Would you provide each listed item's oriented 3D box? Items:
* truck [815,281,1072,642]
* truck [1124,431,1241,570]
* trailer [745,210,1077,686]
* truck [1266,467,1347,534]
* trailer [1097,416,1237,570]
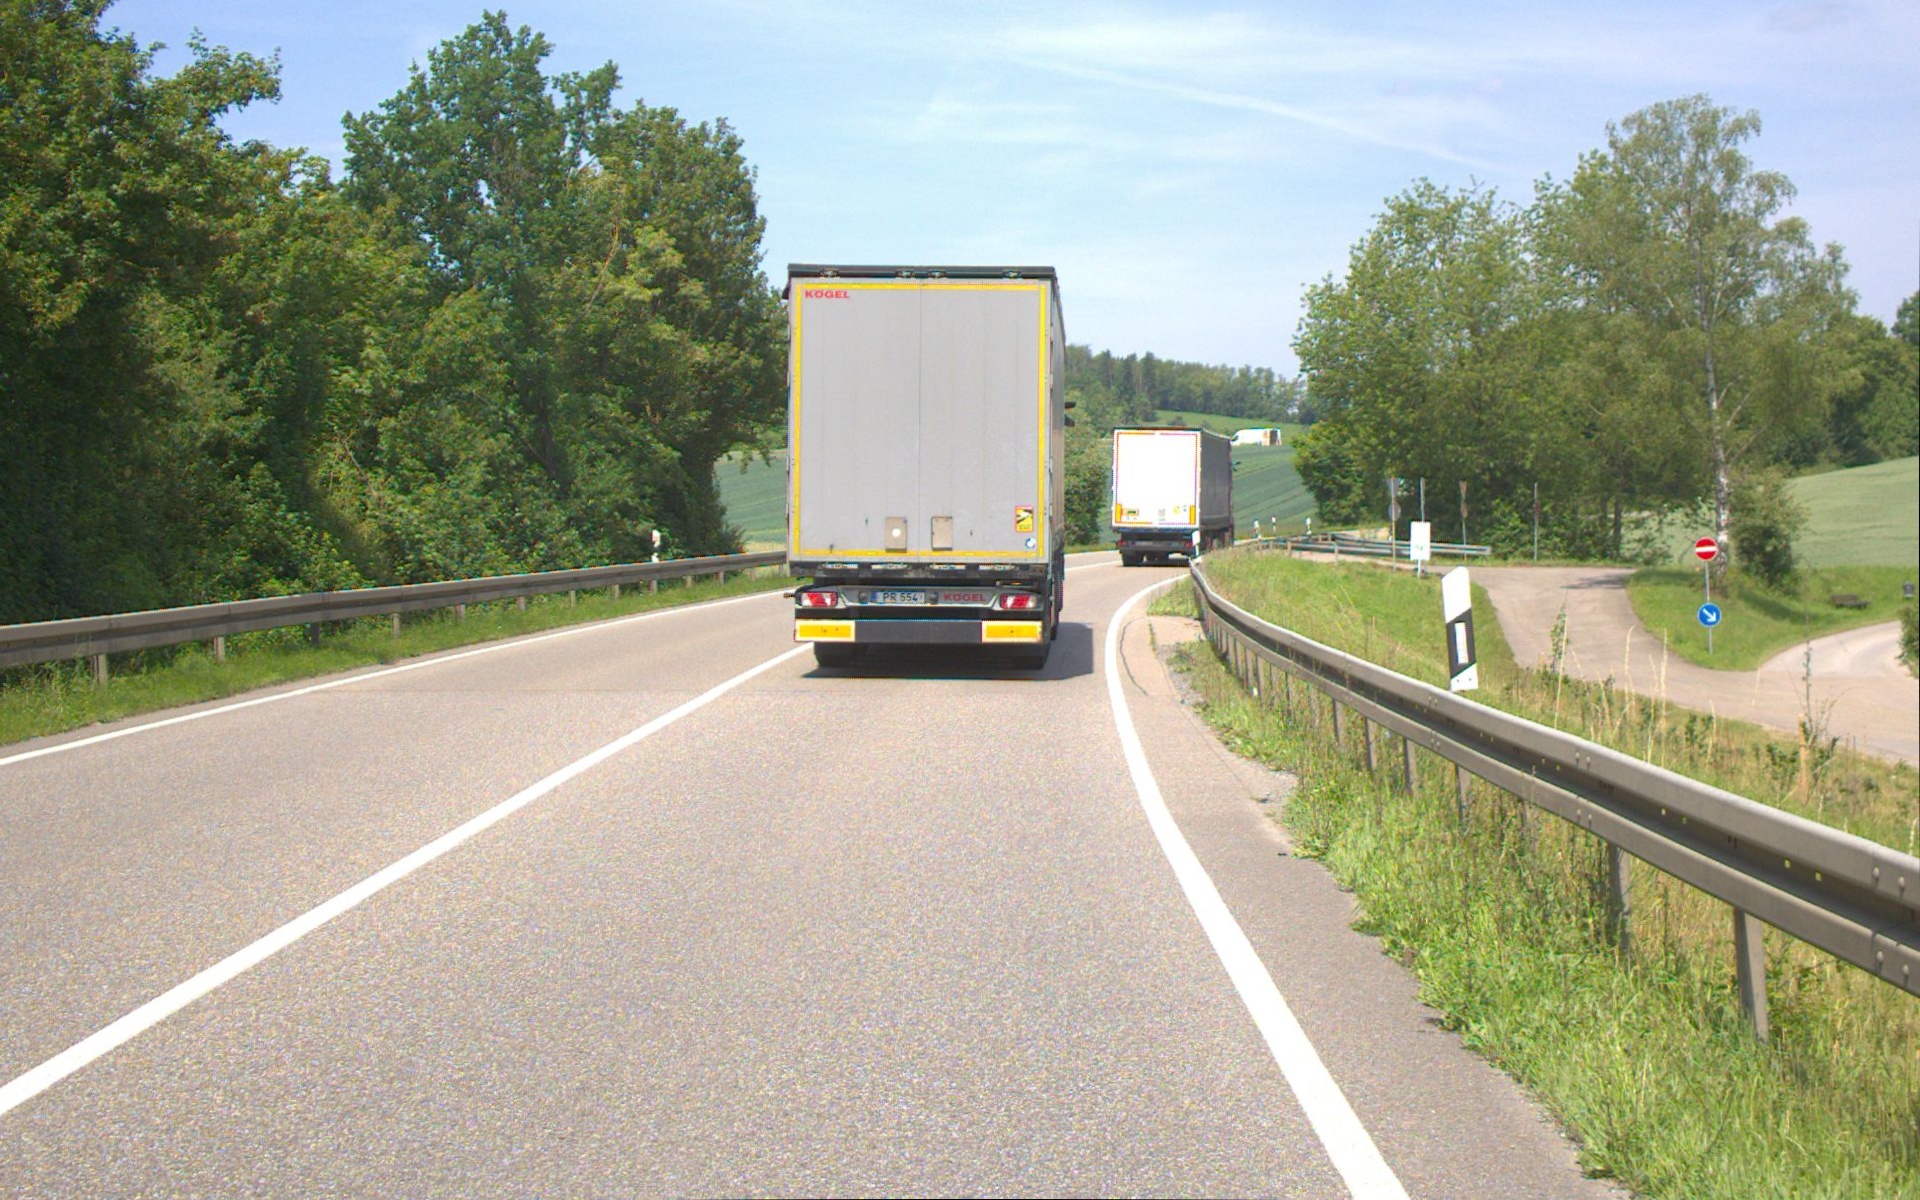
[{"bbox_3d":[-0.104,-1.824,46.203,3.118,4.479,6.811,0,2,2],"label":"truck"},{"bbox_3d":[7.253,-3.149,111.104,3.366,4.302,6.738,0,0,7],"label":"truck"},{"bbox_3d":[-0.301,-1.632,39.423,3.118,4.484,13.887,0,2,1],"label":"trailer"},{"bbox_3d":[19.018,-5.372,188.175,3.224,3.354,11.869,0,0,12],"label":"truck"},{"bbox_3d":[6.447,-3.105,104.944,3.366,4.302,13.860,0,0,7],"label":"trailer"}]
